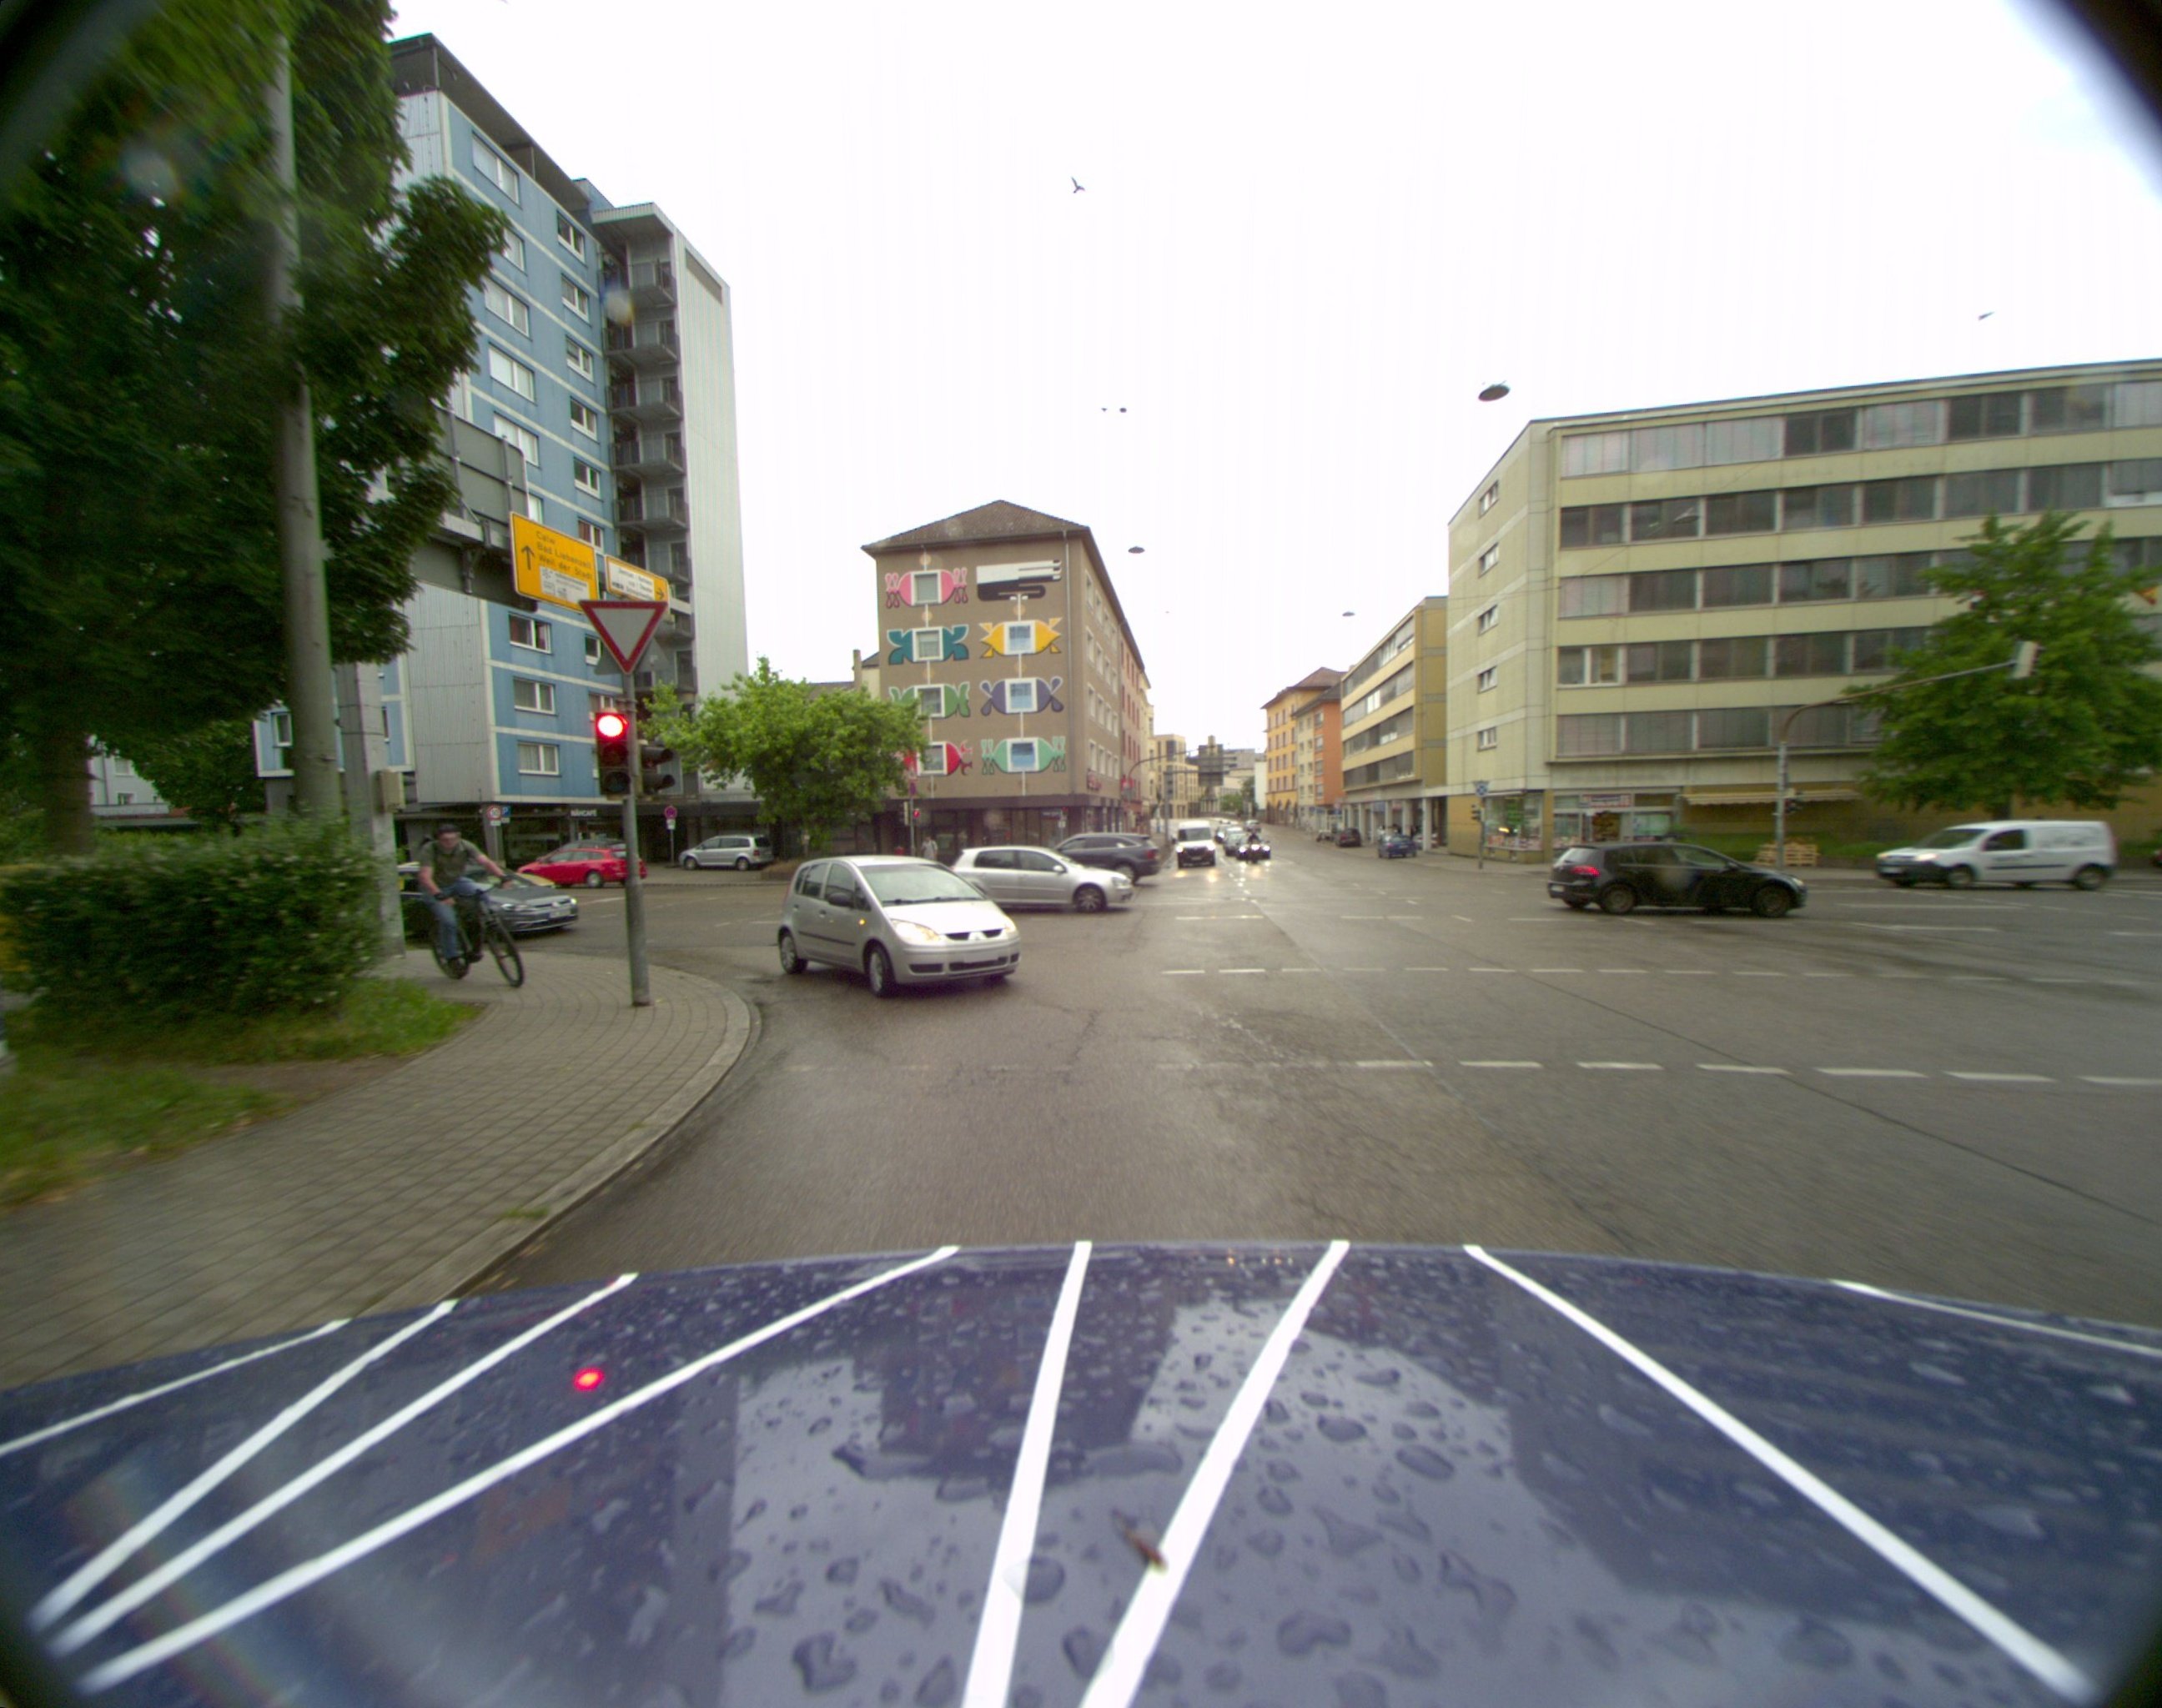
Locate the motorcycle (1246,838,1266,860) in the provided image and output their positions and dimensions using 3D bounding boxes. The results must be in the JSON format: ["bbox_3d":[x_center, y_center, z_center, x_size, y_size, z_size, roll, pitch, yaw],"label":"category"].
[{"bbox_3d":[9.175,-0.290,39.918,0.878,1.093,1.801,-1,2,9],"label":"motorcycle"}]

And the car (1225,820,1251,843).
[{"bbox_3d":[12.705,-1.851,61.712,1.847,1.705,3.571,-4,1,10],"label":"car"}]

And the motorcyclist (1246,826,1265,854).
[{"bbox_3d":[9.179,-0.743,39.957,0.878,1.471,0.796,-1,2,9],"label":"motorcyclist"}]

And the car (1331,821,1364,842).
[{"bbox_3d":[22.487,-1.903,64.175,1.847,1.558,4.371,-4,1,10],"label":"car"}]

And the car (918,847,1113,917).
[{"bbox_3d":[-1.392,0.597,17.054,4.030,1.417,1.688,0,3,9],"label":"car"}]

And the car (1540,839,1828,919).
[{"bbox_3d":[11.732,0.443,15.063,4.161,1.417,1.688,0,3,9],"label":"car"}]

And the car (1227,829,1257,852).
[{"bbox_3d":[11.120,-0.962,52.594,1.847,1.411,3.571,-4,1,10],"label":"car"}]

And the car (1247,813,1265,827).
[{"bbox_3d":[22.603,-4.428,98.214,1.848,1.700,4.368,-1,4,6],"label":"car"}]

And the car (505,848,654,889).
[{"bbox_3d":[-18.511,0.519,28.140,4.576,1.415,1.708,0,2,8],"label":"car"}]

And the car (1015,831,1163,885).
[{"bbox_3d":[0.323,0.110,25.047,4.563,1.693,1.992,0,2,12],"label":"car"}]

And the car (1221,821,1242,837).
[{"bbox_3d":[14.369,-2.401,72.794,1.847,1.411,3.571,-4,1,10],"label":"car"}]

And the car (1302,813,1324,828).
[{"bbox_3d":[27.186,-3.884,89.129,1.847,1.558,4.371,-4,1,10],"label":"car"}]

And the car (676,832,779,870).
[{"bbox_3d":[-16.815,-0.153,36.245,4.180,1.657,1.650,1,5,8],"label":"car"}]

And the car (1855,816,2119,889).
[{"bbox_3d":[24.127,-0.048,20.445,4.224,1.845,1.992,0,2,11],"label":"car"}]

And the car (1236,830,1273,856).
[{"bbox_3d":[10.354,-0.690,45.526,1.847,1.411,3.571,-4,1,10],"label":"car"}]

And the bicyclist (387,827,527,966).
[{"bbox_3d":[-7.143,0.469,8.722,0.966,1.480,0.890,0,-1,25],"label":"bicyclist"}]

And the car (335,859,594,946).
[{"bbox_3d":[-12.559,0.966,15.537,4.493,1.497,1.688,-1,4,15],"label":"car"}]

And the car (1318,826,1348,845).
[{"bbox_3d":[23.052,-1.706,69.651,1.847,1.558,4.371,-4,1,10],"label":"car"}]

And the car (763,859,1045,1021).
[{"bbox_3d":[-2.343,0.852,9.387,1.691,1.496,3.828,-4,3,-42],"label":"car"}]

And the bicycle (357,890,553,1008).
[{"bbox_3d":[-7.207,1.027,8.740,2.128,1.180,0.890,0,-1,25],"label":"bicycle"}]

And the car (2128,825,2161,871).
[{"bbox_3d":[36.552,-0.189,23.968,3.884,1.419,1.726,0,4,14],"label":"car"}]

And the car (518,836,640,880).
[{"bbox_3d":[-21.205,0.138,32.138,4.180,1.657,1.650,1,5,8],"label":"car"}]

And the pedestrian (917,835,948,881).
[{"bbox_3d":[-5.735,0.135,29.344,0.902,1.764,0.818,0,2,8],"label":"pedestrian"}]

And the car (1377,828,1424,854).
[{"bbox_3d":[19.597,-0.825,46.776,1.847,1.411,3.571,-4,1,10],"label":"car"}]

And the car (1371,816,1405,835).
[{"bbox_3d":[27.544,-2.541,68.298,1.848,1.558,4.371,-4,1,9],"label":"car"}]

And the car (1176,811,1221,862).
[{"bbox_3d":[6.558,-0.973,42.143,2.229,2.510,5.473,-3,1,10],"label":"car"}]
